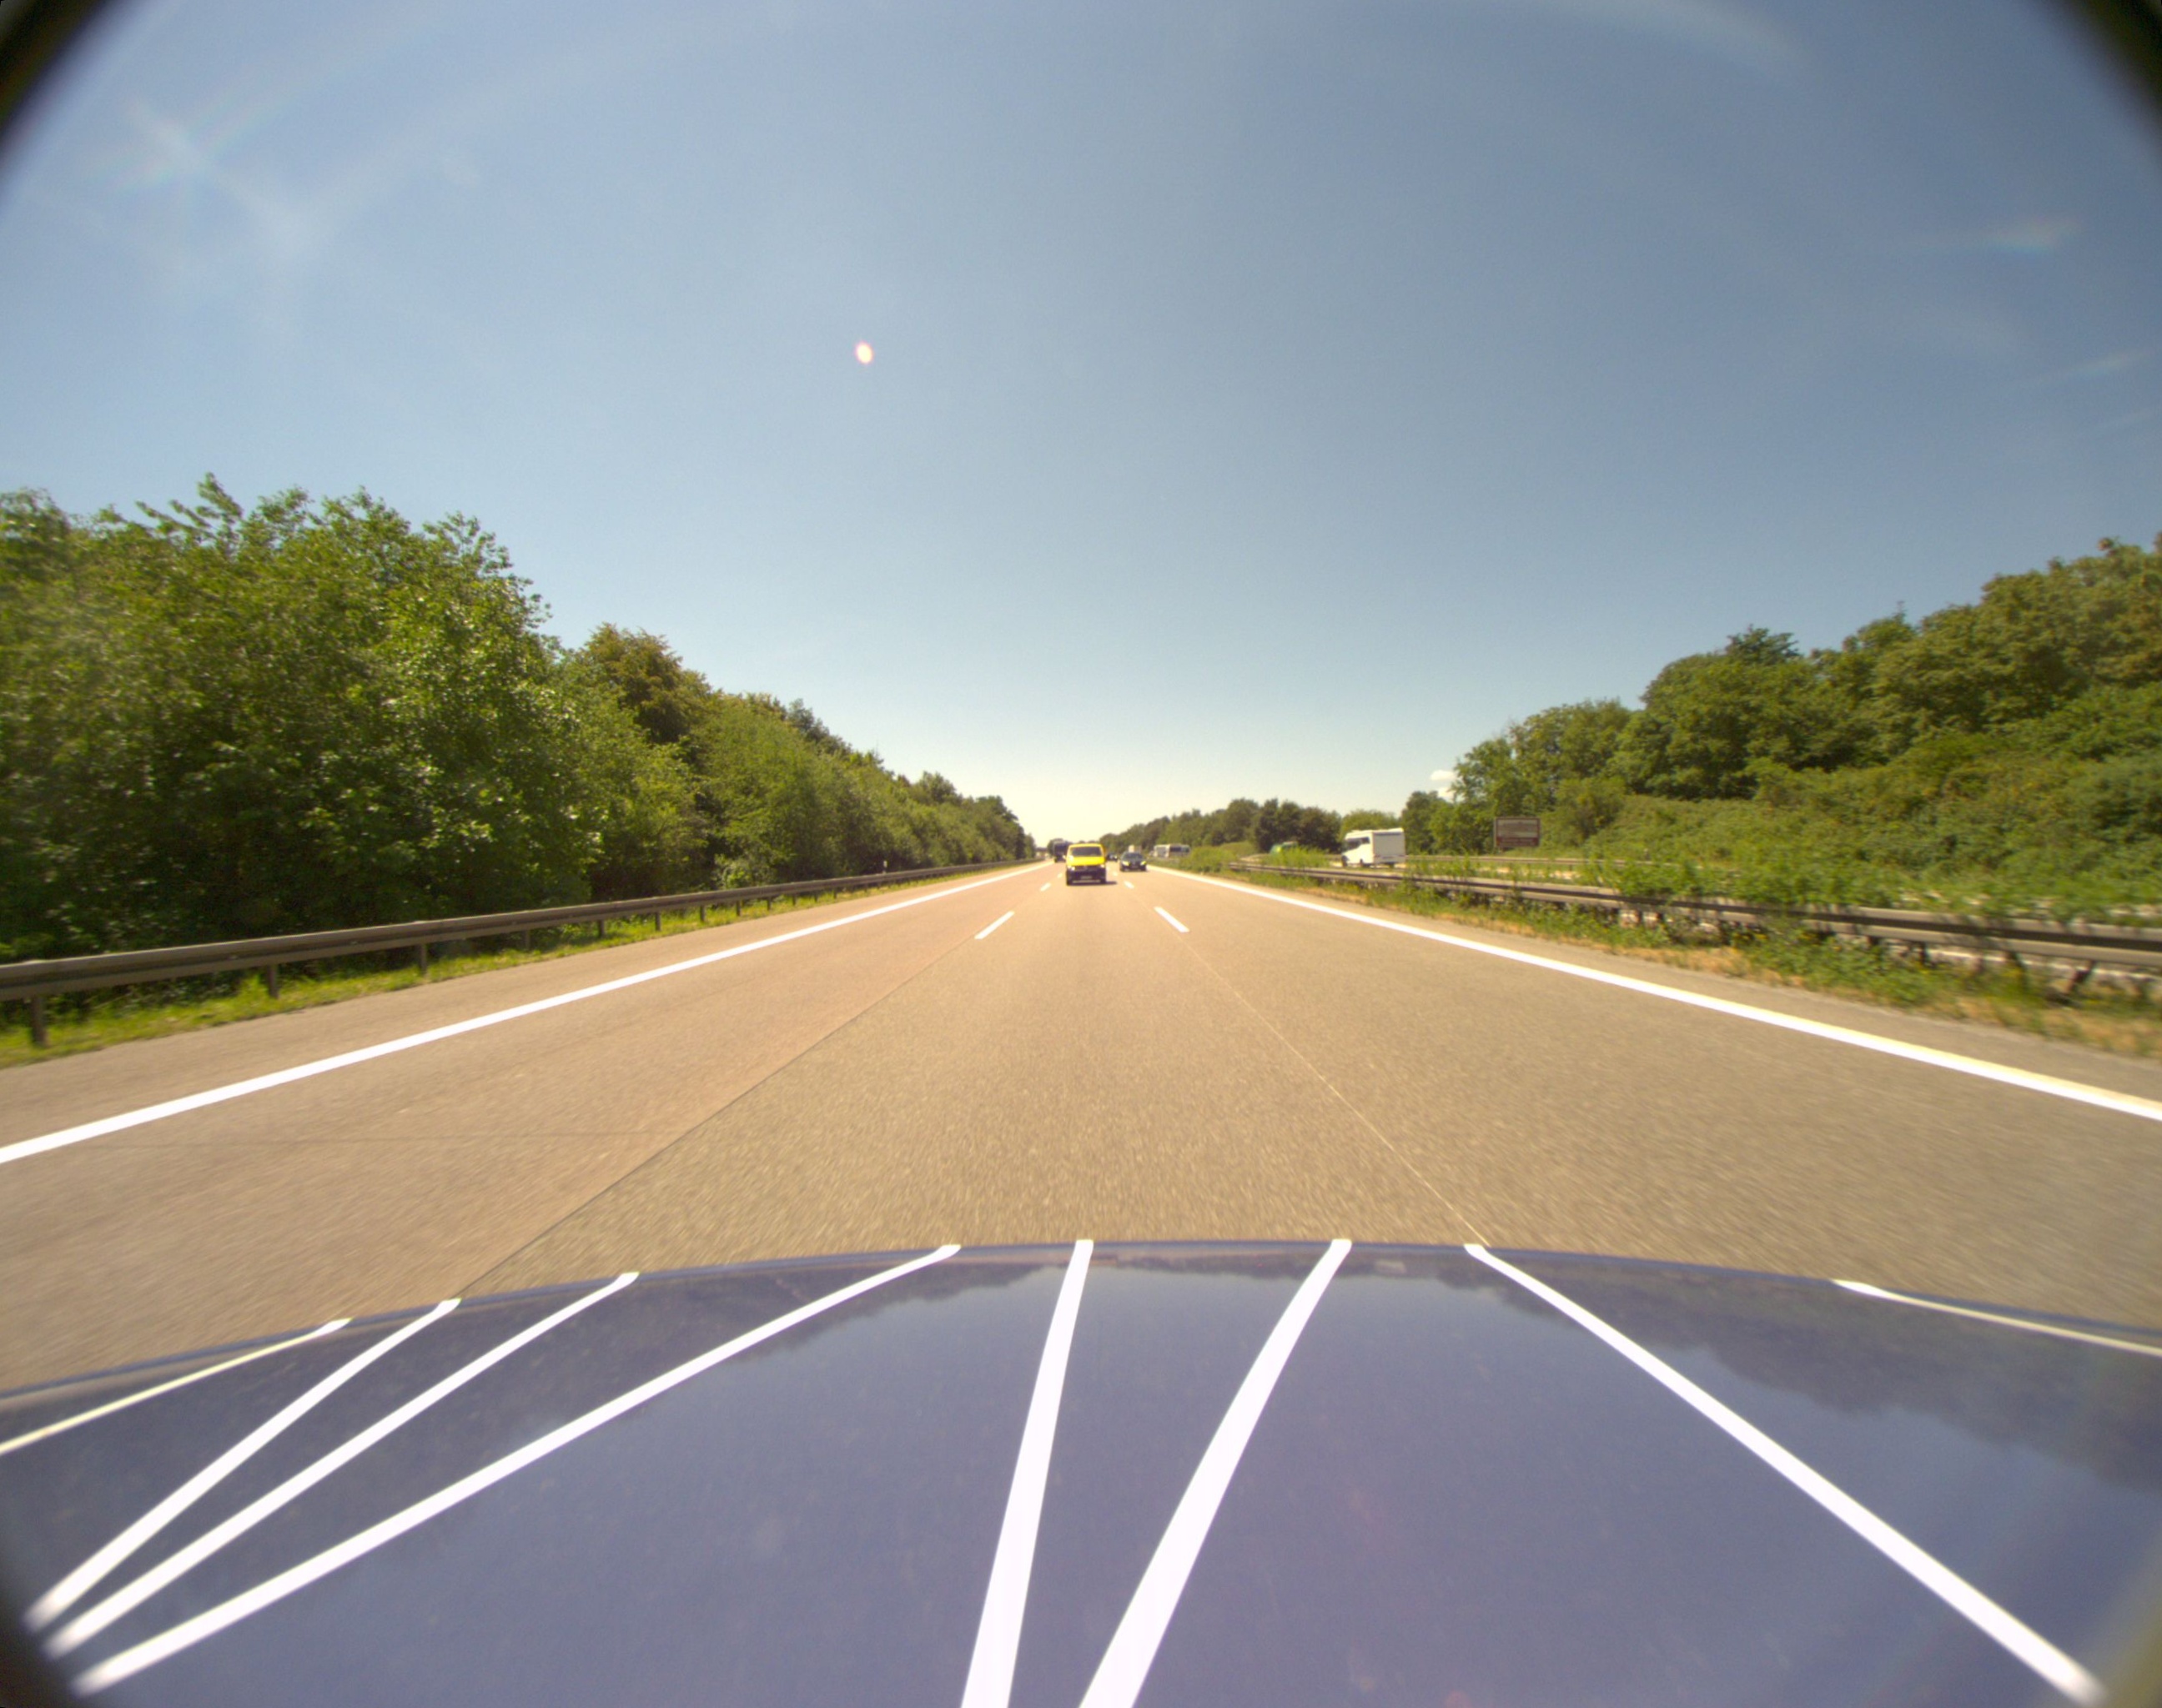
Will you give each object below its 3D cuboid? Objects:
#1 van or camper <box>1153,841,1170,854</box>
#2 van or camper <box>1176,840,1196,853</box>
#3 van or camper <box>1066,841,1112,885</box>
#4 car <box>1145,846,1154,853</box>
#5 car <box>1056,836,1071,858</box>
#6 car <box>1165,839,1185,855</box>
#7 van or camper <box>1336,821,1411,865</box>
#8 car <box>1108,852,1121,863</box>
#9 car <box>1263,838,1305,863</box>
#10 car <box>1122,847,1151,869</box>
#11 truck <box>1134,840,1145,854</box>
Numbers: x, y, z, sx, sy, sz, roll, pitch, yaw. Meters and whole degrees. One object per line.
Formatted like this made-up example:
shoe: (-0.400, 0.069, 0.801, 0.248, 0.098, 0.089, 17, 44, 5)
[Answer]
van or camper: (17.138, -1.377, 161.923, 2.950, 2.675, 6.746, -1, 1, 1)
van or camper: (18.293, -1.301, 133.095, 2.612, 2.174, 6.746, -1, 1, 1)
van or camper: (0.485, 0.379, 37.581, 2.063, 1.992, 5.884, -1, 1, 2)
car: (18.672, -1.212, 207.125, 1.998, 2.002, 3.999, -2, 1, 0)
car: (-3.182, -1.252, 140.546, 2.298, 3.886, 9.268, 1, 1, 1)
car: (13.919, -1.010, 112.421, 2.237, 2.174, 6.385, -1, 1, 1)
van or camper: (21.315, -0.772, 55.917, 2.612, 2.985, 7.755, -1, 1, 1)
car: (5.026, 0.543, 114.615, 1.894, 1.541, 4.039, 1, 1, 1)
car: (18.748, -0.309, 70.478, 2.288, 2.174, 5.945, -1, 1, 1)
car: (4.159, 0.302, 57.333, 1.894, 1.541, 4.039, 1, 1, 1)
truck: (19.527, -2.469, 254.175, 3.118, 4.502, 8.586, -1, 1, 0)
